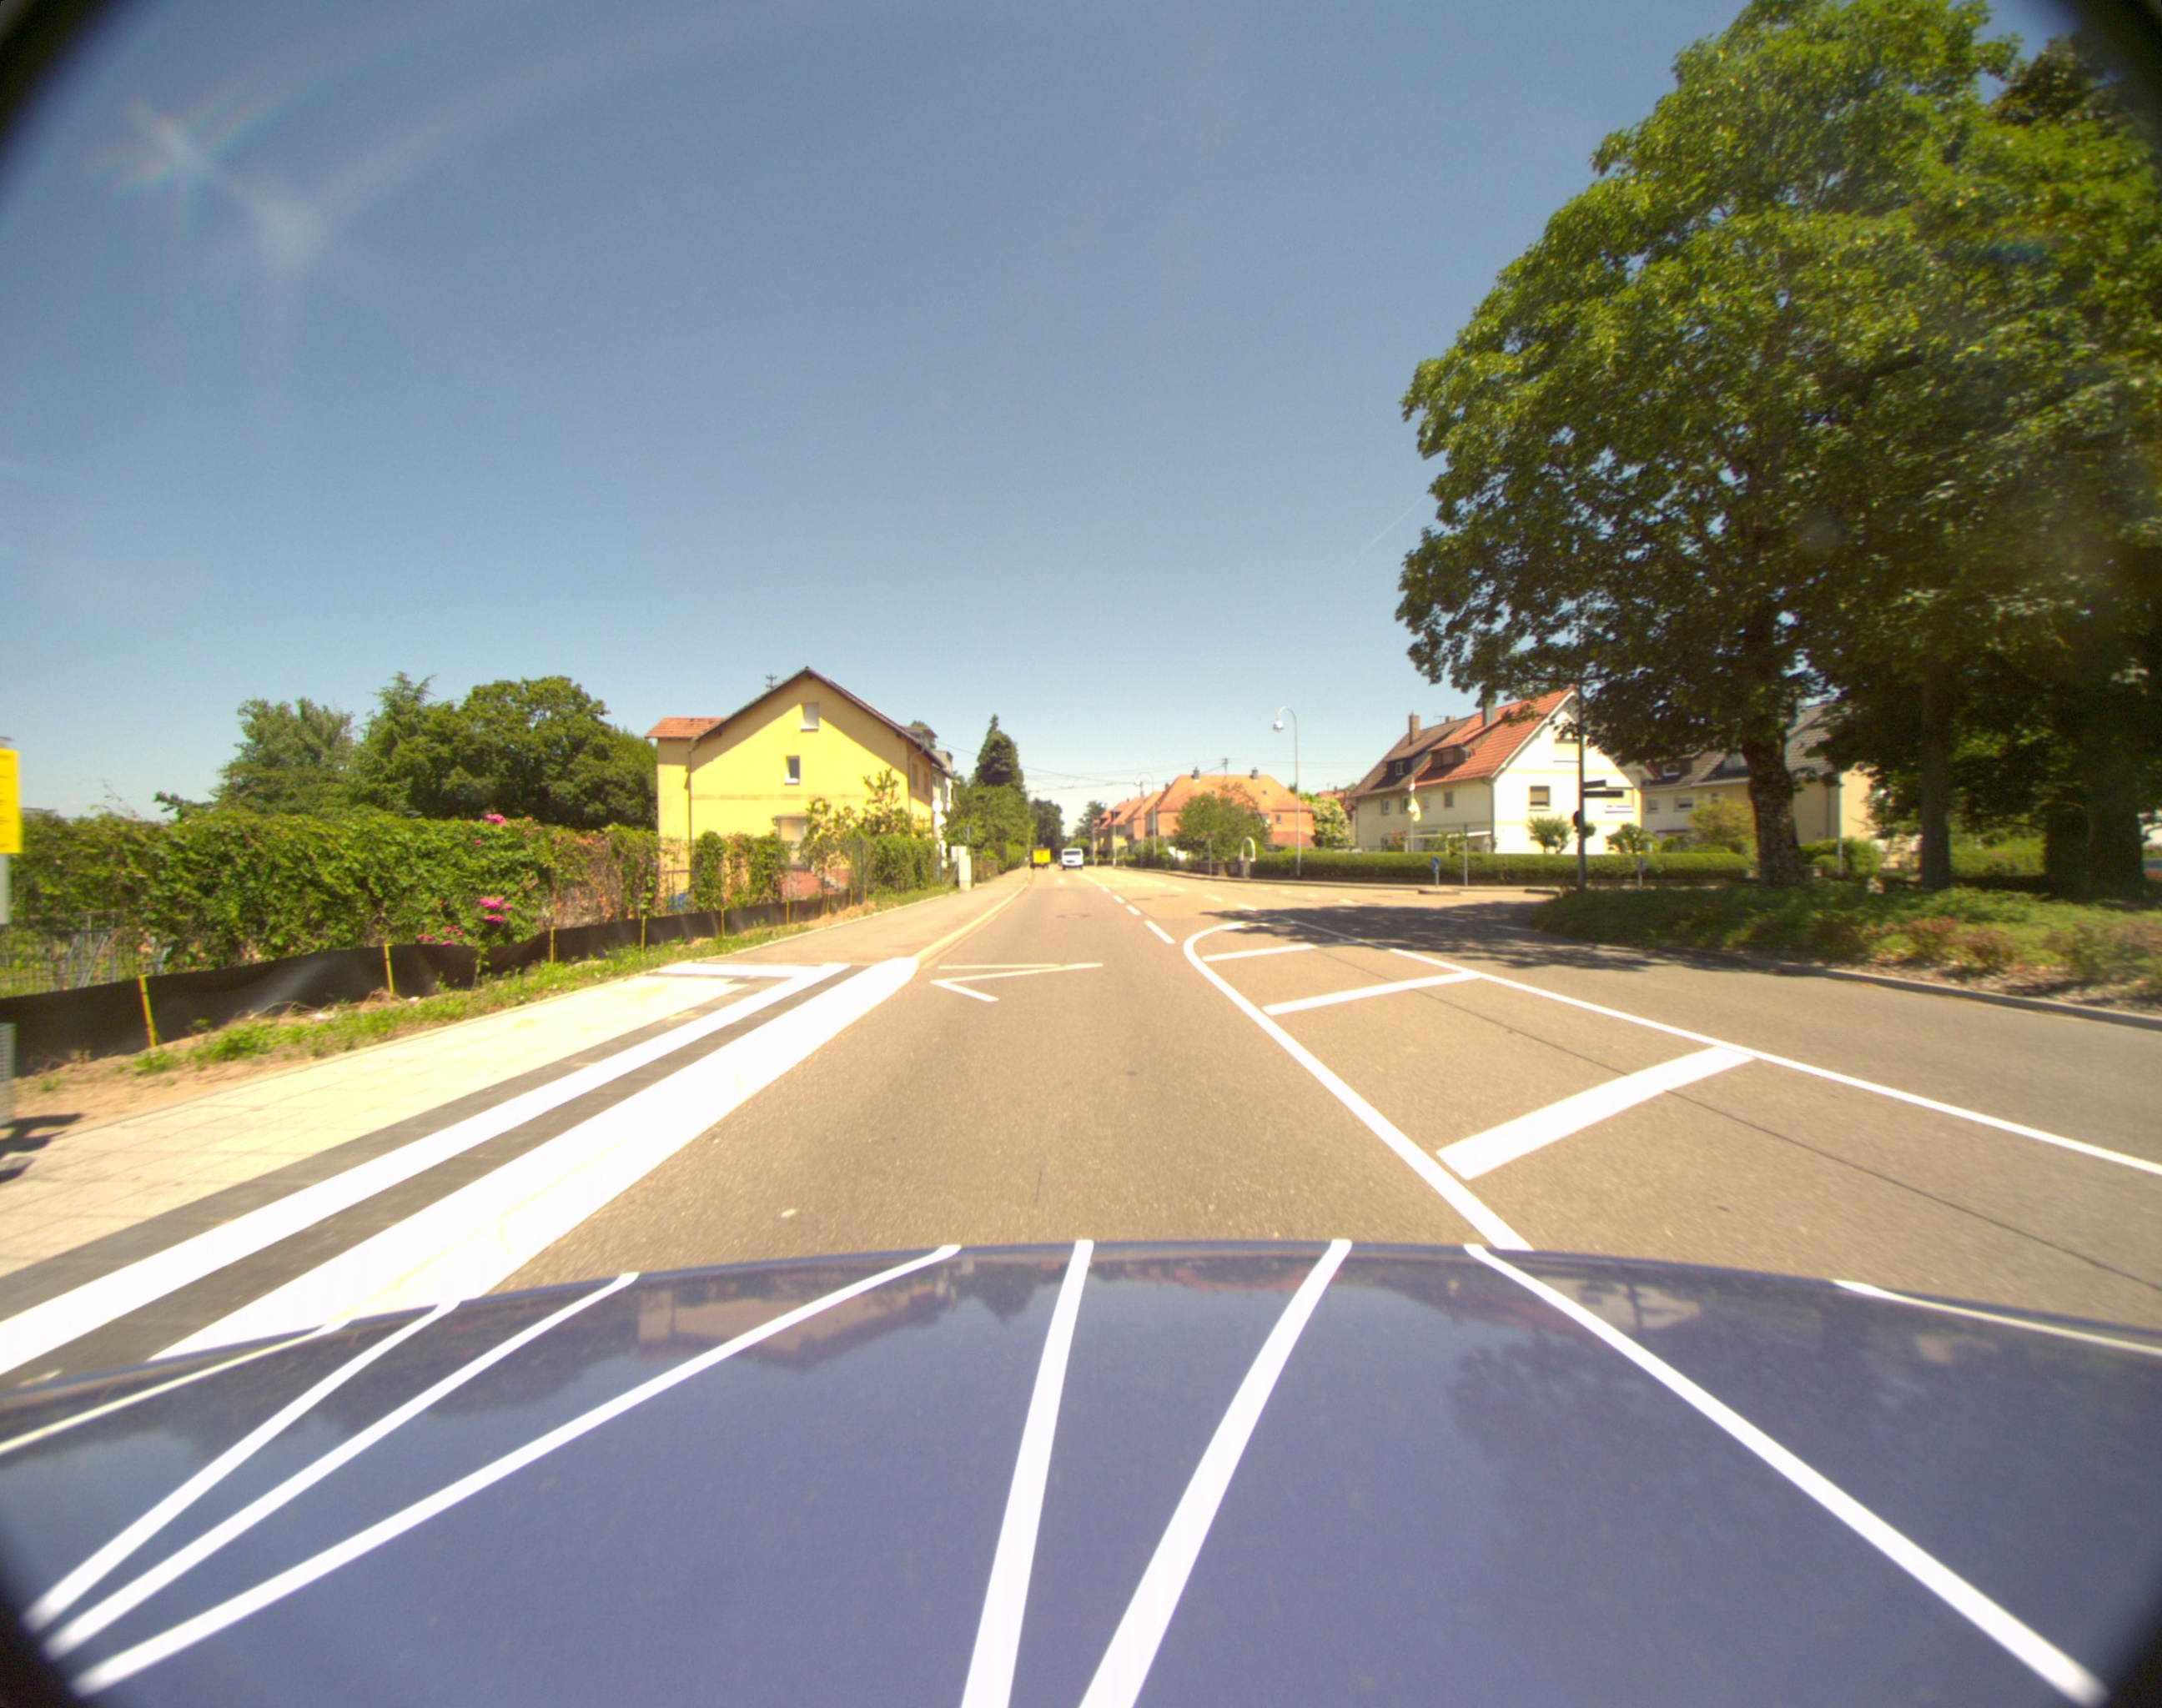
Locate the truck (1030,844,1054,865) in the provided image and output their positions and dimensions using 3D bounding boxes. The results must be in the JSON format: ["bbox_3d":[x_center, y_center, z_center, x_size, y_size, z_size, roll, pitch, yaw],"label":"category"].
[{"bbox_3d":[-4.631,0.077,89.357,2.020,2.295,6.172,-3,-1,-9],"label":"truck"}]

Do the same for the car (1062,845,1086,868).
[{"bbox_3d":[-0.659,0.292,70.920,1.999,2.001,4.386,-2,-1,-3],"label":"car"}]
